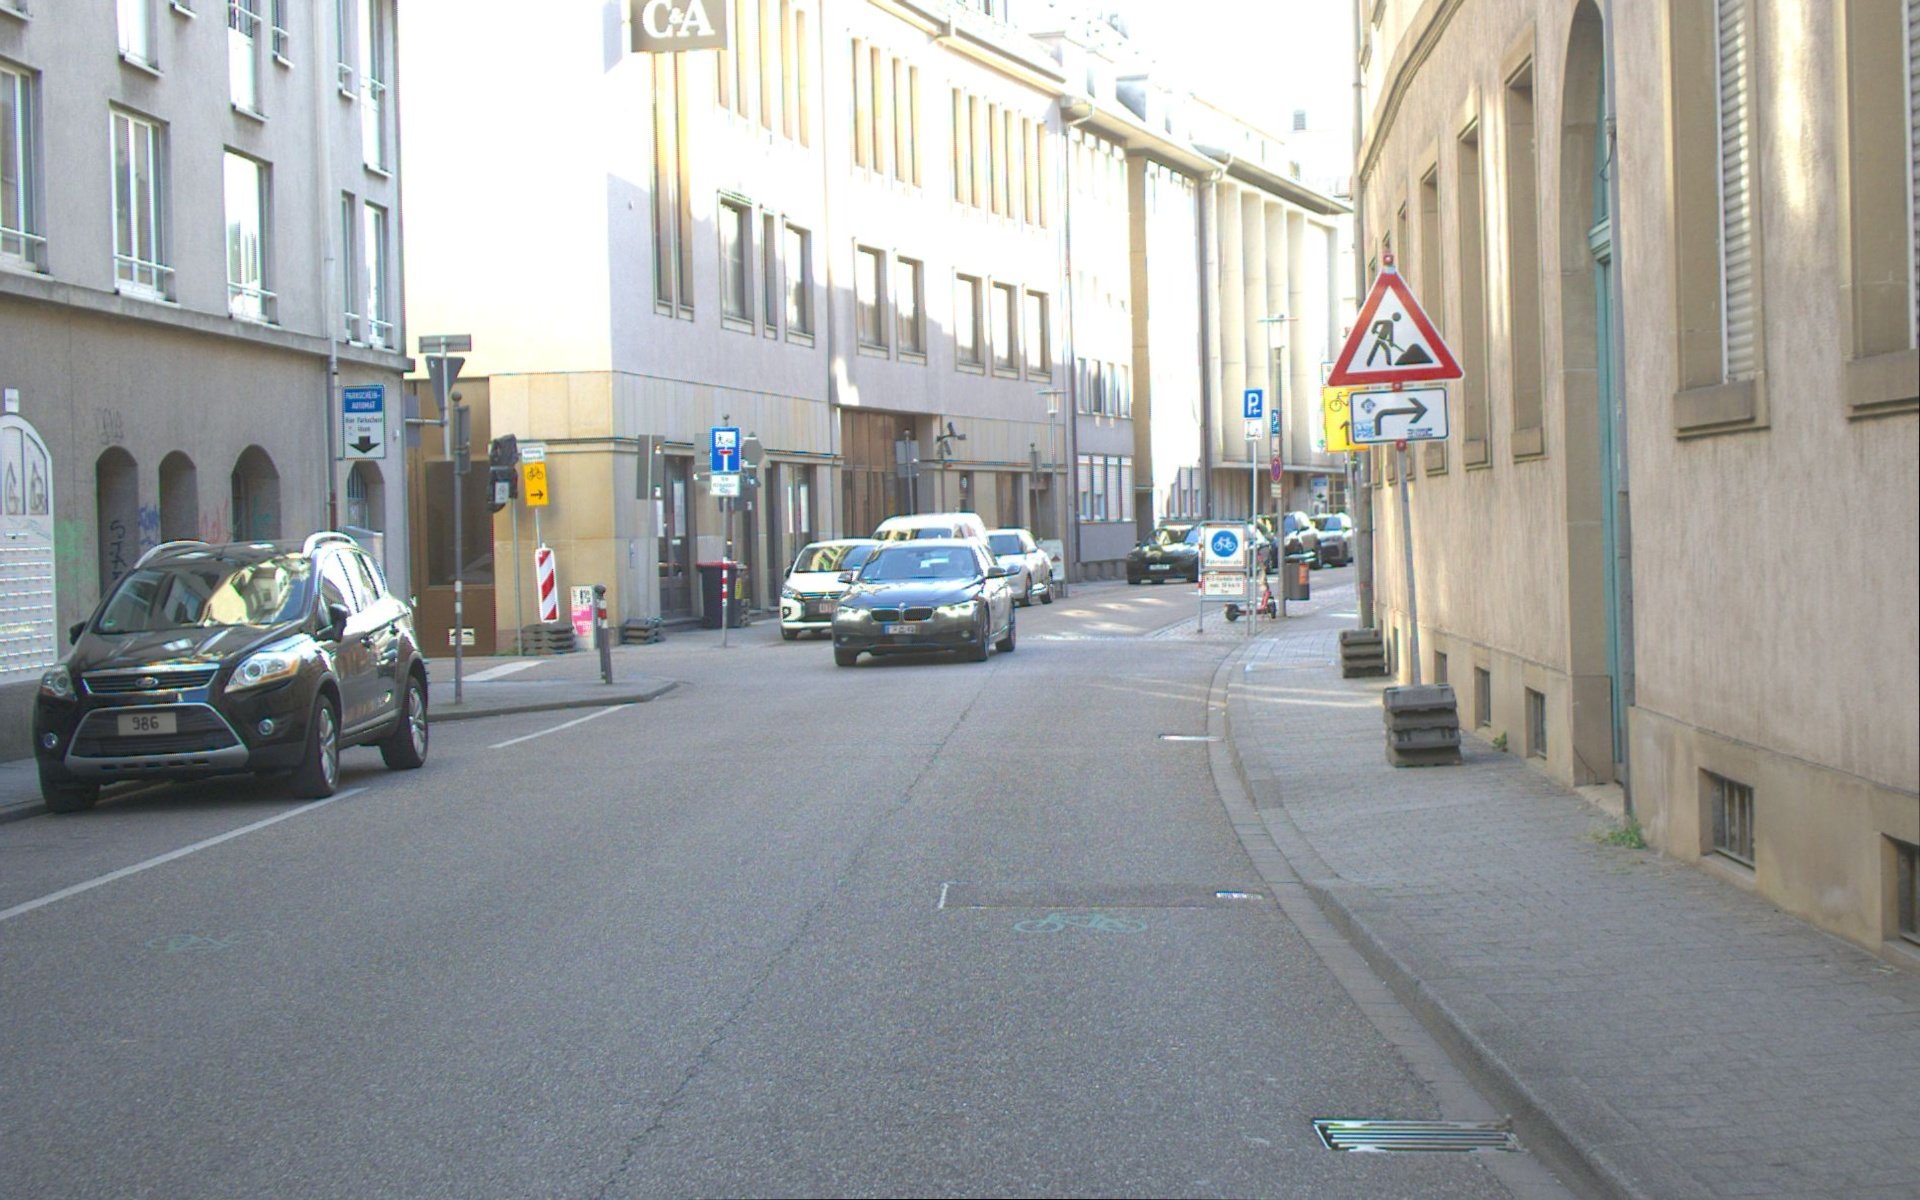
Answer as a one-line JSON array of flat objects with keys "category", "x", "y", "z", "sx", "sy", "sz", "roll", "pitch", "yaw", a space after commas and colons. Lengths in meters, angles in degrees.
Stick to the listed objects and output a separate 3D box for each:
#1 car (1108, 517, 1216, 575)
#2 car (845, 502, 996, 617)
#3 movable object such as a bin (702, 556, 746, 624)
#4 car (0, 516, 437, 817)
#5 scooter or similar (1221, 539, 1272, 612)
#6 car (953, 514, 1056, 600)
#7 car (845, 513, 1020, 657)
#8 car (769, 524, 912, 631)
[{"category": "car", "x": 5.059, "y": -1.354, "z": 85.642, "sx": 1.882, "sy": 1.327, "sz": 4.098, "roll": -1, "pitch": 1, "yaw": 15}, {"category": "car", "x": -0.628, "y": -0.736, "z": 59.289, "sx": 1.671, "sy": 1.812, "sz": 4.550, "roll": -3, "pitch": 1, "yaw": 11}, {"category": "movable object such as a bin", "x": -3.759, "y": -0.168, "z": 54.866, "sx": 0.609, "sy": 1.057, "sz": 0.713, "roll": 1, "pitch": 1, "yaw": 2}, {"category": "car", "x": -4.859, "y": 0.358, "z": 22.959, "sx": 1.740, "sy": 1.705, "sz": 4.190, "roll": -4, "pitch": 1, "yaw": 4}, {"category": "scooter or similar", "x": 4.537, "y": -0.387, "z": 54.363, "sx": 0.771, "sy": 1.132, "sz": 0.269, "roll": 1, "pitch": 1, "yaw": 8}, {"category": "car", "x": 0.868, "y": -0.835, "z": 65.357, "sx": 1.272, "sy": 1.501, "sz": 3.400, "roll": -3, "pitch": 1, "yaw": 12}, {"category": "car", "x": -0.377, "y": -0.209, "z": 40.835, "sx": 1.714, "sy": 1.572, "sz": 4.191, "roll": -1, "pitch": 1, "yaw": -5}, {"category": "car", "x": -1.816, "y": -0.378, "z": 53.518, "sx": 1.670, "sy": 1.501, "sz": 3.793, "roll": -3, "pitch": 1, "yaw": 6}]
